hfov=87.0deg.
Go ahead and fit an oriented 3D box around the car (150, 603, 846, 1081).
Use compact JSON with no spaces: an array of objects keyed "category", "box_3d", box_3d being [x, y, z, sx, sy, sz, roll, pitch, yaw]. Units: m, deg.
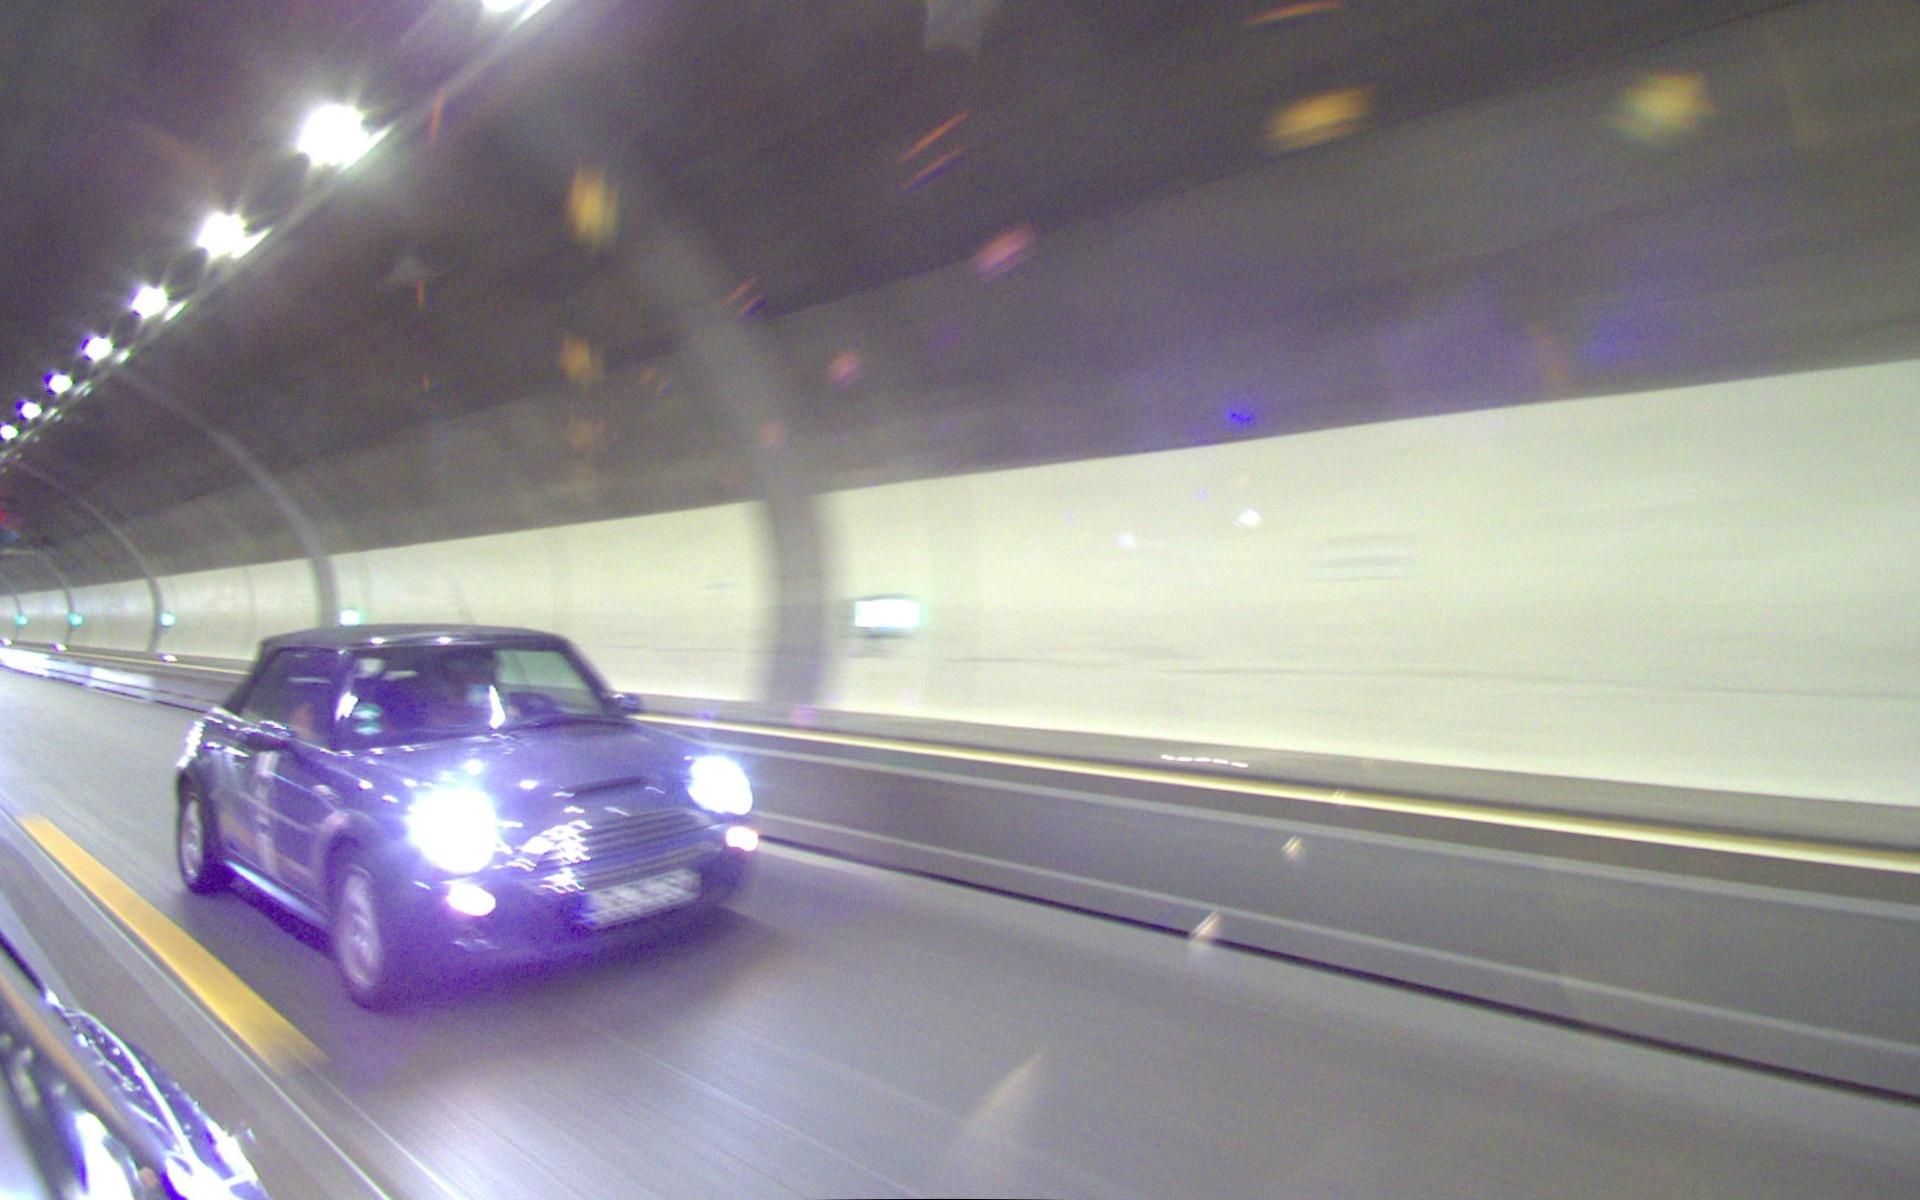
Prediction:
[{"category":"car","box_3d":[-2.514,0.767,5.000,3.921,1.428,1.671,-1,-1,41]}]
